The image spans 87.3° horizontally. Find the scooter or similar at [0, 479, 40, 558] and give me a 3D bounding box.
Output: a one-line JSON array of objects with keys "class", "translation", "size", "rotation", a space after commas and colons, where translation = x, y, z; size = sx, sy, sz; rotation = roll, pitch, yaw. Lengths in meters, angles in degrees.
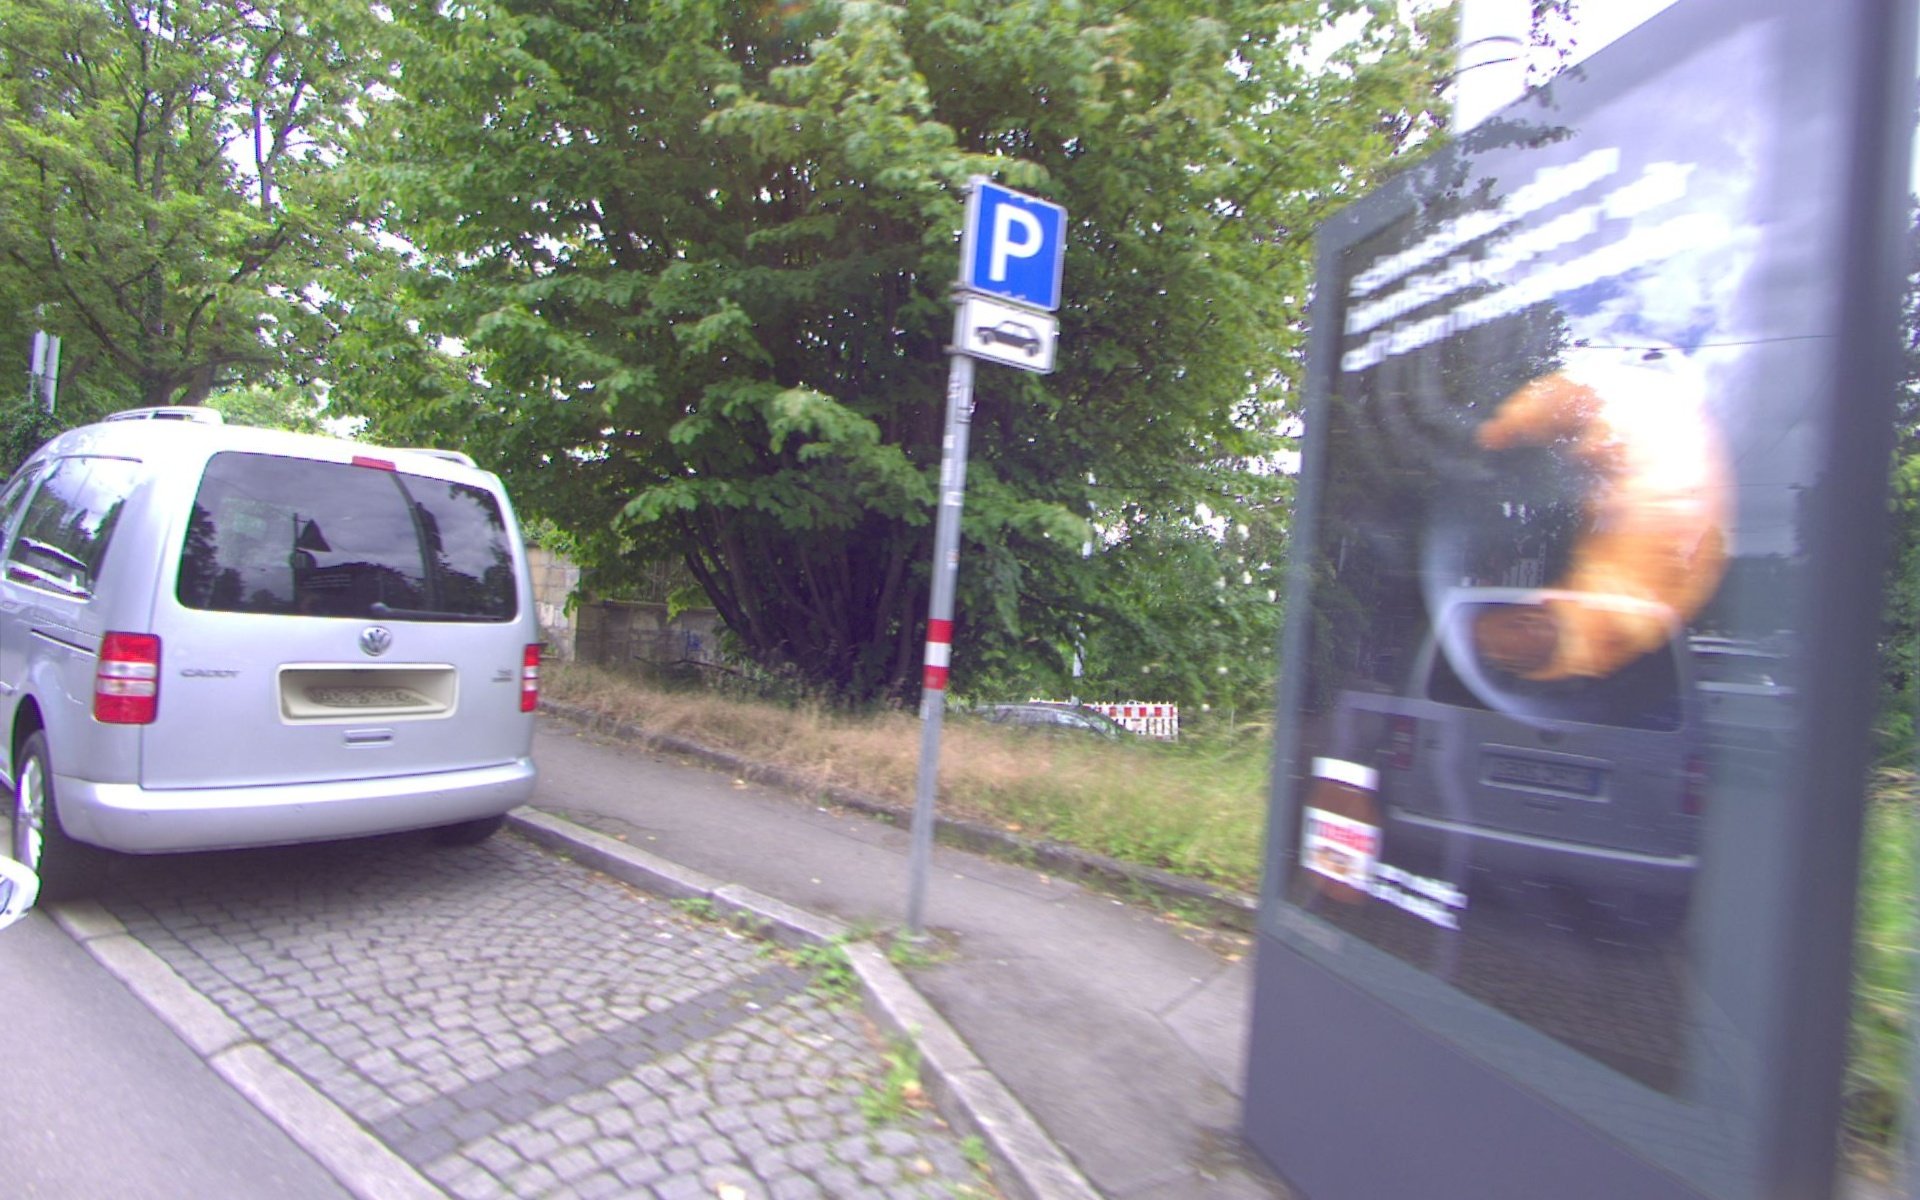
[{"class": "scooter or similar", "translation": [-16.413, -1.434, 17.256], "size": [1.969, 1.262, 0.560], "rotation": [7, 6, 36]}]

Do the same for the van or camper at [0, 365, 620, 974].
[{"class": "van or camper", "translation": [-3.744, 0.094, 5.020], "size": [4.178, 1.868, 1.698], "rotation": [7, 0, 38]}]

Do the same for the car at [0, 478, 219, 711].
[{"class": "car", "translation": [-7.431, -0.194, 7.783], "size": [3.881, 1.478, 1.597], "rotation": [7, 1, 36]}]

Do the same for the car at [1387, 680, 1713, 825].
[{"class": "car", "translation": [8.747, 2.211, 15.369], "size": [3.927, 1.541, 1.926], "rotation": [5, -1, 22]}]

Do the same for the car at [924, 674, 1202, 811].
[{"class": "car", "translation": [1.866, 2.447, 18.103], "size": [4.445, 1.574, 2.000], "rotation": [7, -1, 22]}]
